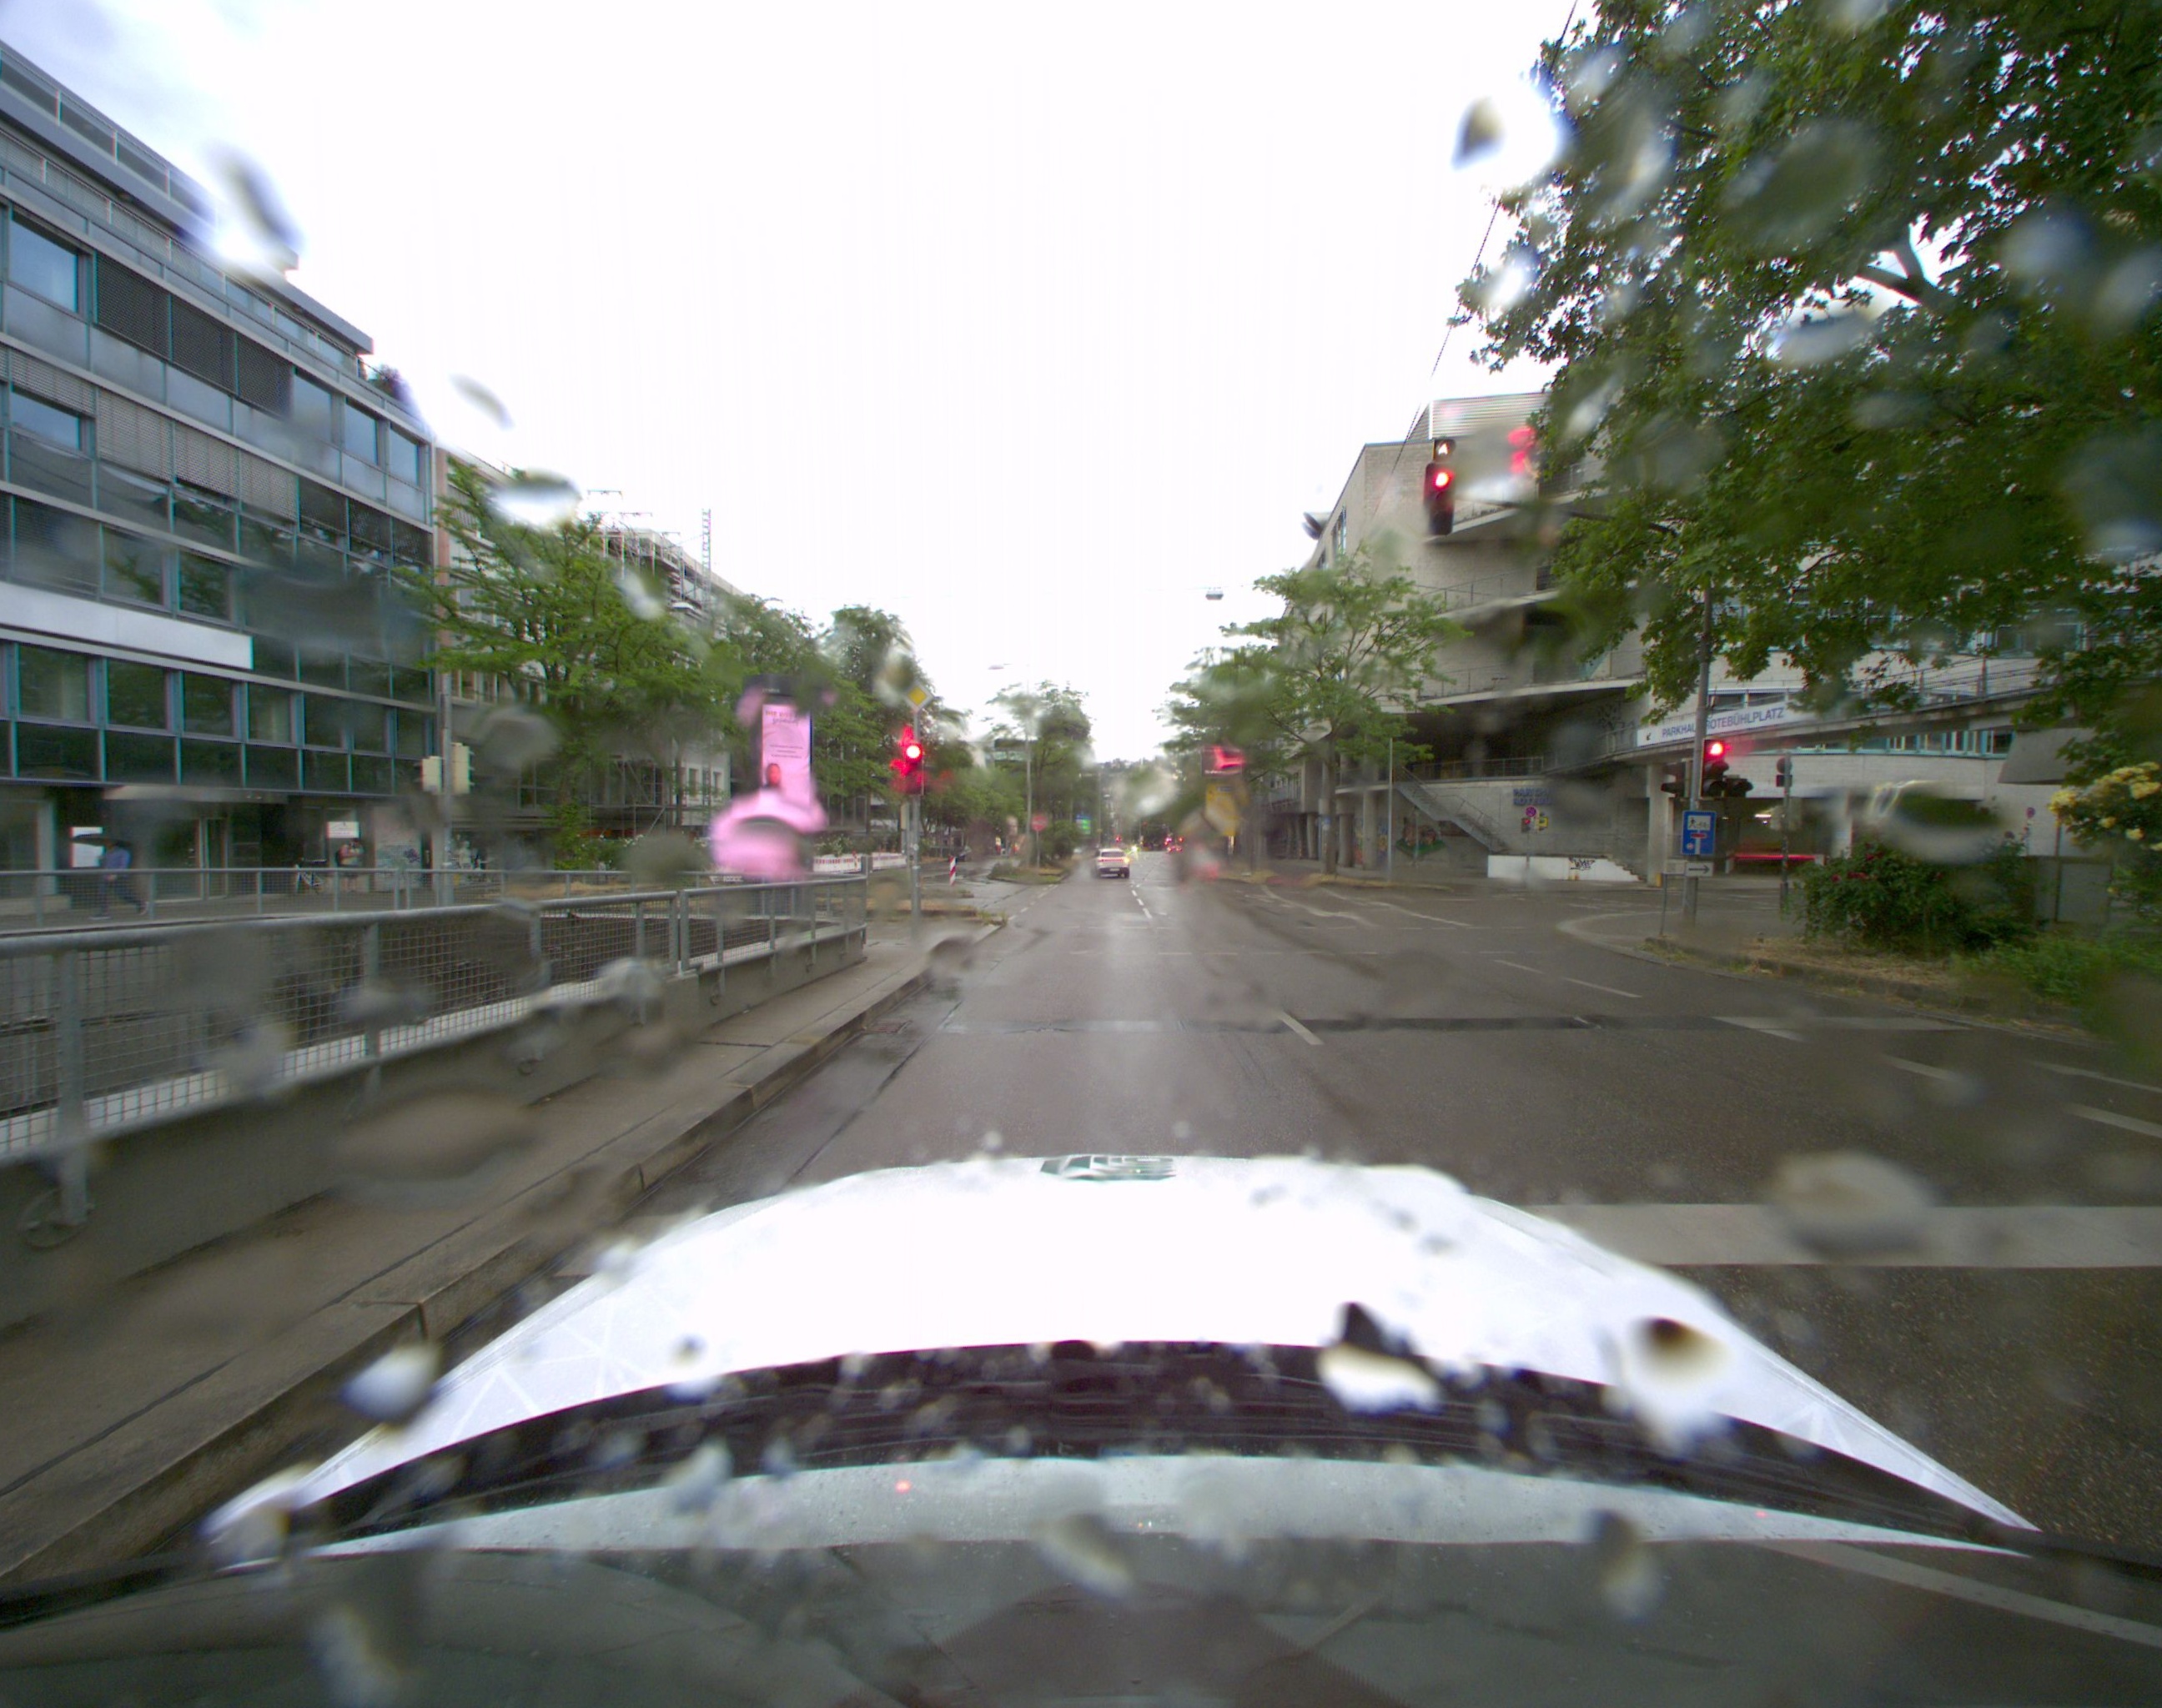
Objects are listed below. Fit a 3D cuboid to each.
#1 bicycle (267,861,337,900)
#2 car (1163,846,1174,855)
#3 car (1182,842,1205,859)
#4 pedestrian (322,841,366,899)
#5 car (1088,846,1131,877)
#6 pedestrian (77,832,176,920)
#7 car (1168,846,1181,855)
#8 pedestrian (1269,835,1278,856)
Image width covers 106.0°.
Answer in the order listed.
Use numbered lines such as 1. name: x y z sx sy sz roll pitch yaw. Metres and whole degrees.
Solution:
1. bicycle: -22.956 0.762 24.031 0.444 1.085 1.567 0 0 6
2. car: 17.877 -0.750 166.631 1.986 1.736 4.001 0 -1 2
3. car: 11.542 -0.346 83.333 2.324 1.691 4.010 0 0 9
4. pedestrian: -22.810 0.486 25.232 0.694 1.741 0.694 1 0 -4
5. car: 1.541 0.394 46.060 1.826 1.640 4.291 1 0 -6
6. pedestrian: -20.719 0.462 17.708 0.854 1.838 1.060 1 0 2
7. car: 17.610 -0.658 153.770 1.986 1.723 4.001 0 -1 1
8. pedestrian: 18.079 -0.823 76.647 0.770 1.920 0.705 -1 -1 11
